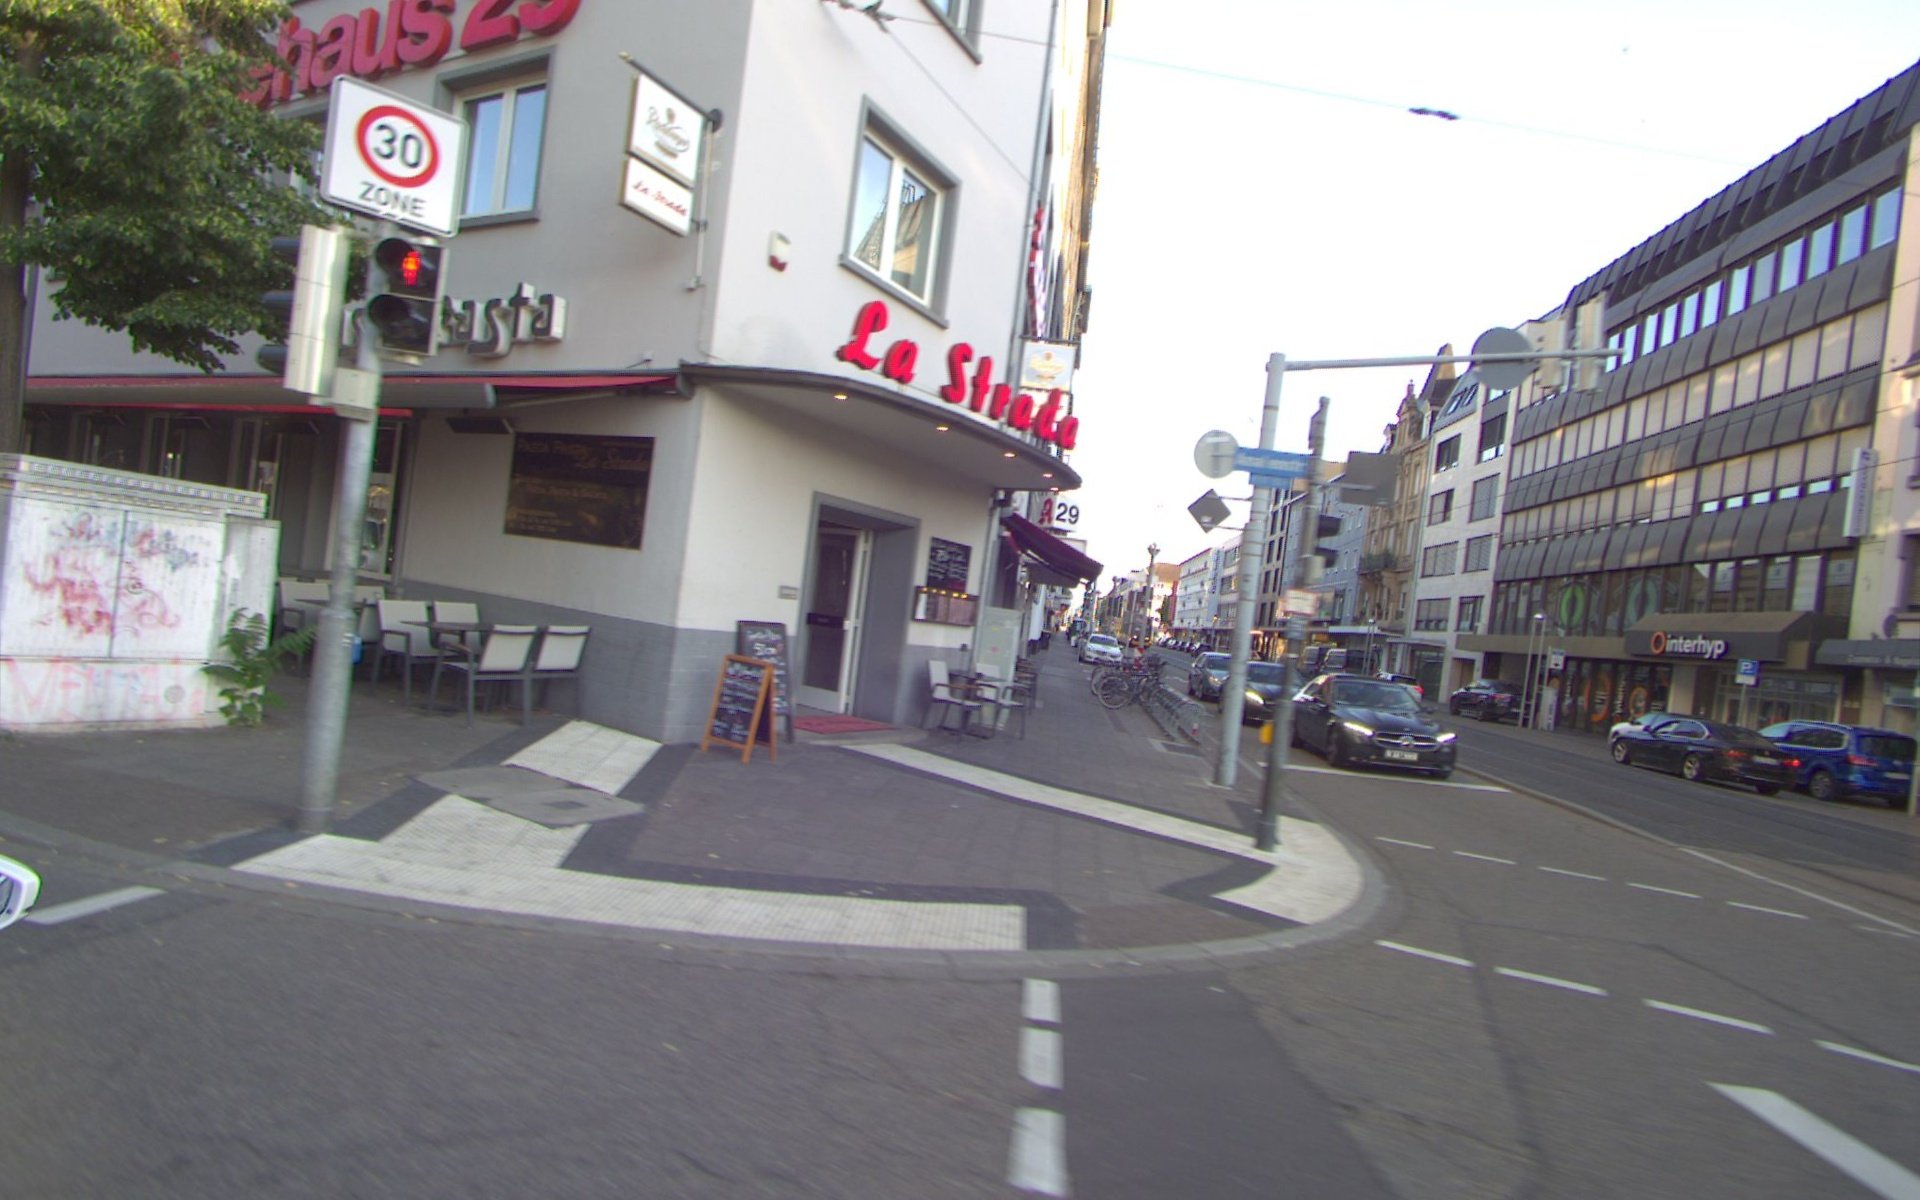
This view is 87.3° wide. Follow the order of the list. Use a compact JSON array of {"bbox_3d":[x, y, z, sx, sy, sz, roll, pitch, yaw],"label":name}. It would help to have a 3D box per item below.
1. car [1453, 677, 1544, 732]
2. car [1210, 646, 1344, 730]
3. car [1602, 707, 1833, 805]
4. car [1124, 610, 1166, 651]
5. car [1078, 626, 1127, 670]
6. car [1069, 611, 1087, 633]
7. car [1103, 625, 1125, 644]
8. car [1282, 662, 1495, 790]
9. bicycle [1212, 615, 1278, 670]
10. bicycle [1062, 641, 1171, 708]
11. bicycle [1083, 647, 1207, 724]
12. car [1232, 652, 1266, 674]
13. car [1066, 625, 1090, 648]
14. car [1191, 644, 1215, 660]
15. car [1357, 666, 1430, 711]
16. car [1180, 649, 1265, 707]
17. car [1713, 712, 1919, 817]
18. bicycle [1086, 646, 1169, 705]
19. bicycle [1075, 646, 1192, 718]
[{"bbox_3d":[22.106,4.256,41.493,1.779,1.650,3.753,11,0,6],"label":"car"},{"bbox_3d":[7.336,1.985,23.732,1.962,1.542,4.401,4,-1,5],"label":"car"},{"bbox_3d":[17.318,3.508,23.354,1.963,1.437,4.511,8,-1,3],"label":"car"},{"bbox_3d":[20.777,3.557,113.868,2.914,4.091,12.263,7,-2,5],"label":"car"},{"bbox_3d":[6.801,2.323,47.828,1.954,1.724,4.990,7,-2,9],"label":"car"},{"bbox_3d":[15.989,2.984,136.098,1.962,2.522,4.516,7,-2,9],"label":"car"},{"bbox_3d":[15.510,3.543,101.556,1.962,1.547,4.516,7,-2,9],"label":"car"},{"bbox_3d":[6.975,1.975,16.962,1.944,1.487,4.481,5,0,6],"label":"car"},{"bbox_3d":[9.908,1.443,35.105,0.848,1.652,3.049,8,0,-8],"label":"bicycle"},{"bbox_3d":[3.568,1.704,23.007,2.253,1.206,0.656,8,-3,0],"label":"bicycle"},{"bbox_3d":[3.679,1.697,20.124,2.253,1.207,0.656,8,-1,1],"label":"bicycle"},{"bbox_3d":[26.963,5.855,93.907,2.030,1.586,4.512,11,0,6],"label":"car"},{"bbox_3d":[11.086,3.490,94.926,1.954,1.837,5.063,7,-2,6],"label":"car"},{"bbox_3d":[25.485,5.461,105.676,1.761,1.186,4.512,11,0,6],"label":"car"},{"bbox_3d":[20.042,4.056,46.679,1.739,1.401,4.509,9,1,7],"label":"car"},{"bbox_3d":[7.930,2.331,30.702,1.736,1.436,3.684,8,-2,5],"label":"car"},{"bbox_3d":[20.491,3.815,23.901,1.962,1.723,4.513,8,-1,6],"label":"car"},{"bbox_3d":[4.024,1.818,24.250,1.773,1.169,0.678,8,-1,0],"label":"bicycle"},{"bbox_3d":[3.665,1.739,21.381,2.253,1.207,0.656,8,-1,0],"label":"bicycle"}]
